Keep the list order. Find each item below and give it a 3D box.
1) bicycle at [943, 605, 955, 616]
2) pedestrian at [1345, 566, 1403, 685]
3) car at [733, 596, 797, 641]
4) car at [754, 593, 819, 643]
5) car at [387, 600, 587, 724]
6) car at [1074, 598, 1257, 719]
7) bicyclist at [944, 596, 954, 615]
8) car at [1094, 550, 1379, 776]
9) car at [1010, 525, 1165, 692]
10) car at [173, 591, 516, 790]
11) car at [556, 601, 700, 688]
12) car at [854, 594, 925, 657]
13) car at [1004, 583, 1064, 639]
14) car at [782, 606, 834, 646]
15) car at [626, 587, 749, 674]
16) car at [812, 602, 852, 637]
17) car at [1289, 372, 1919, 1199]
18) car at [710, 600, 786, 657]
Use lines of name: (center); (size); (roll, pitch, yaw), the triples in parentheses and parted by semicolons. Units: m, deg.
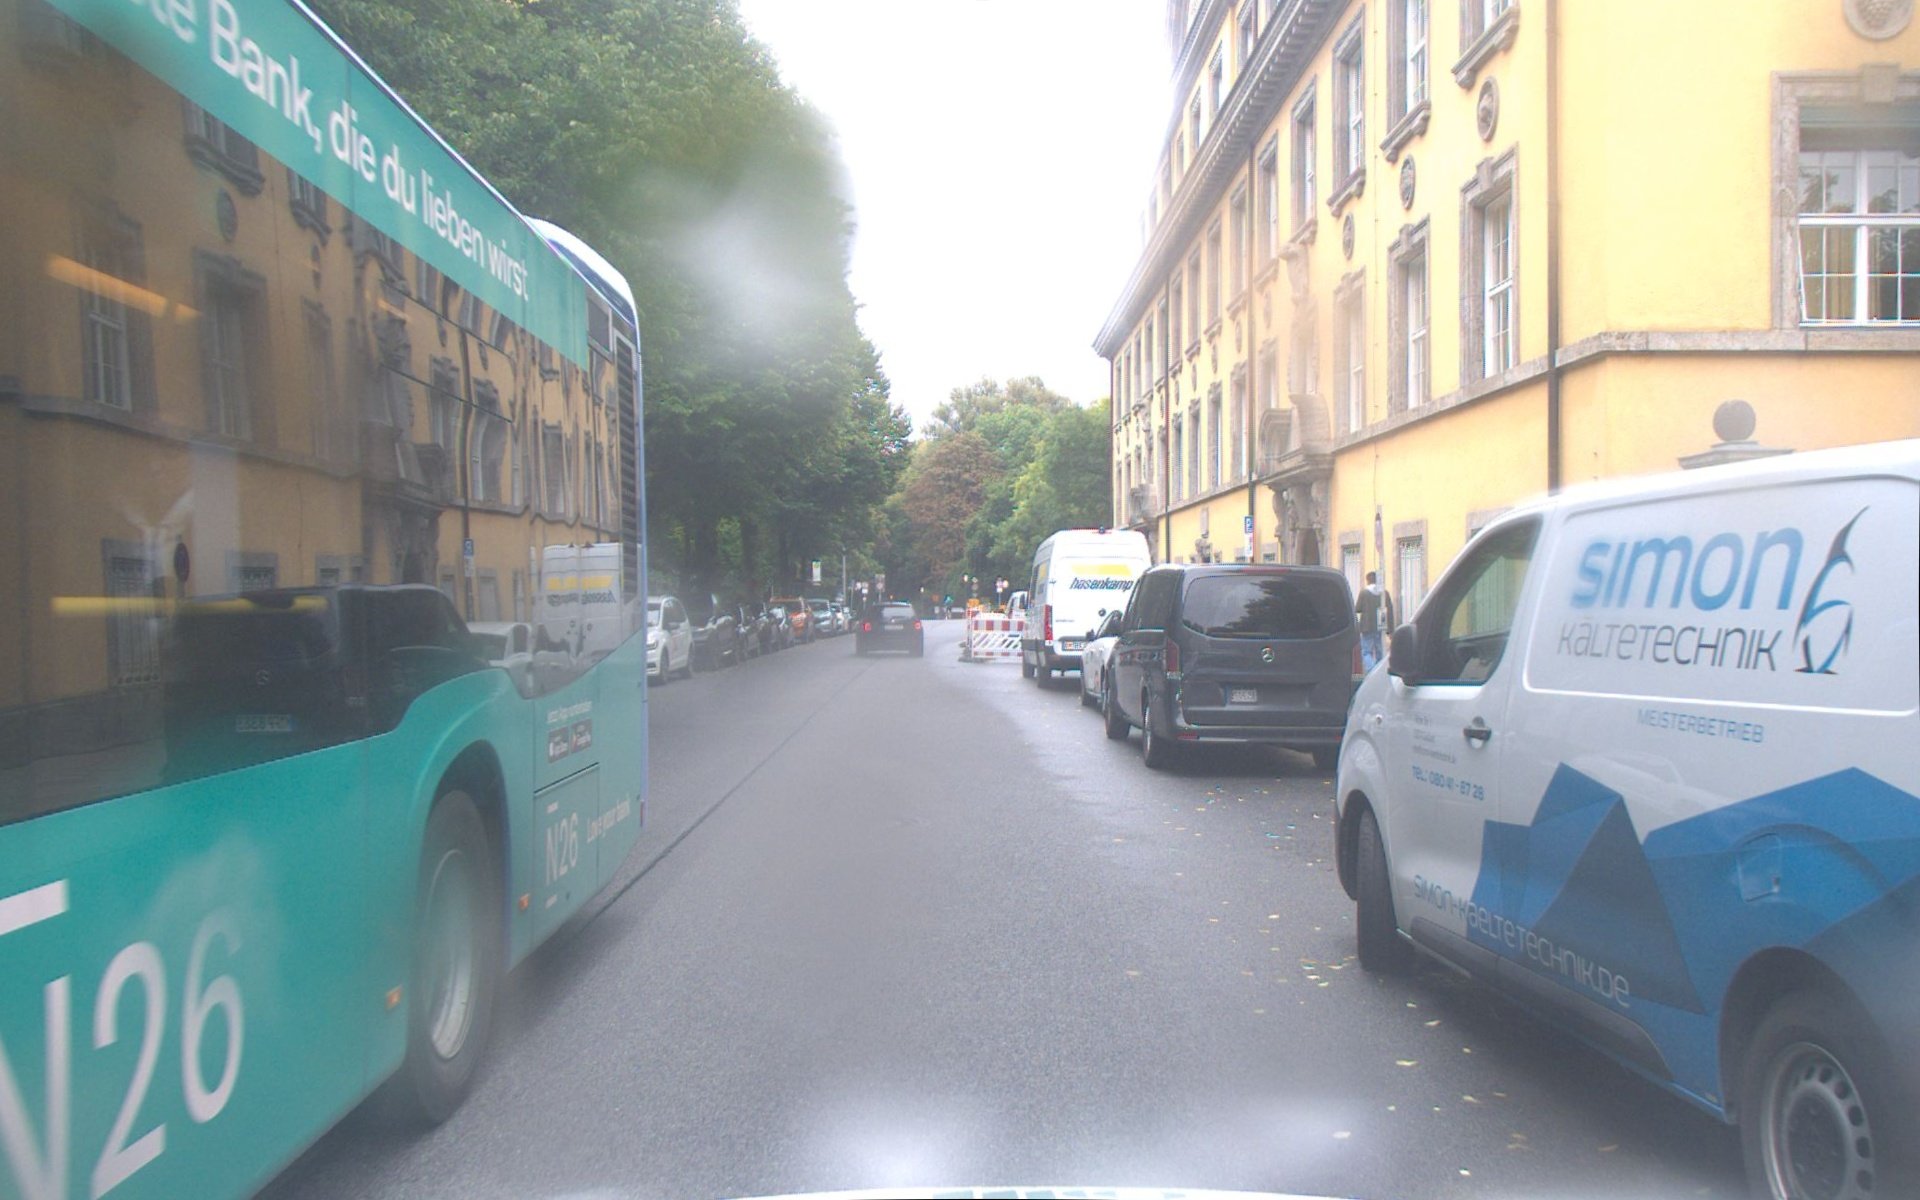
bicycle: (-0.890, 0.850, 130.368); (0.667, 0.844, 2.105); (0, -1, -9)
pedestrian: (6.551, 0.408, 26.200); (0.686, 1.836, 0.582); (-2, -1, -1)
car: (-6.516, 0.589, 55.559); (1.692, 1.447, 4.250); (-1, 0, -1)
car: (-6.381, 0.654, 61.174); (1.834, 1.758, 4.641); (-1, 0, 1)
car: (-6.231, 0.764, 22.238); (1.638, 1.495, 4.102); (-1, 0, -2)
car: (2.709, 0.737, 22.746); (1.833, 1.483, 4.253); (-1, 0, -2)
bicyclist: (-0.866, 0.419, 130.194); (0.668, 1.530, 0.899); (-1, 0, -9)
car: (2.559, 0.549, 16.561); (1.833, 1.902, 4.984); (-1, 0, -2)
car: (2.217, 0.155, 30.941); (2.013, 2.720, 7.610); (-1, 0, -2)
car: (-5.732, 0.765, 16.043); (1.748, 1.625, 4.582); (-1, 0, -2)
car: (-6.188, 0.798, 31.366); (1.772, 1.495, 4.996); (-1, 0, -1)
car: (-1.887, 0.672, 45.323); (1.544, 1.611, 4.045); (-1, 0, 3)
car: (2.440, 0.373, 55.428); (1.704, 1.780, 4.354); (-1, -1, -1)
car: (-6.365, 1.068, 69.843); (1.778, 1.629, 4.513); (-1, 0, 0)
car: (-6.322, 0.680, 38.880); (1.952, 1.828, 4.920); (-2, 0, 1)
car: (-5.824, 0.863, 75.597); (1.545, 1.523, 4.199); (-1, 0, 0)
car: (2.696, 0.545, 5.223); (1.973, 1.940, 5.160); (1, 0, -4)
car: (-6.317, 0.804, 49.666); (1.750, 1.602, 4.485); (-1, 0, -1)
